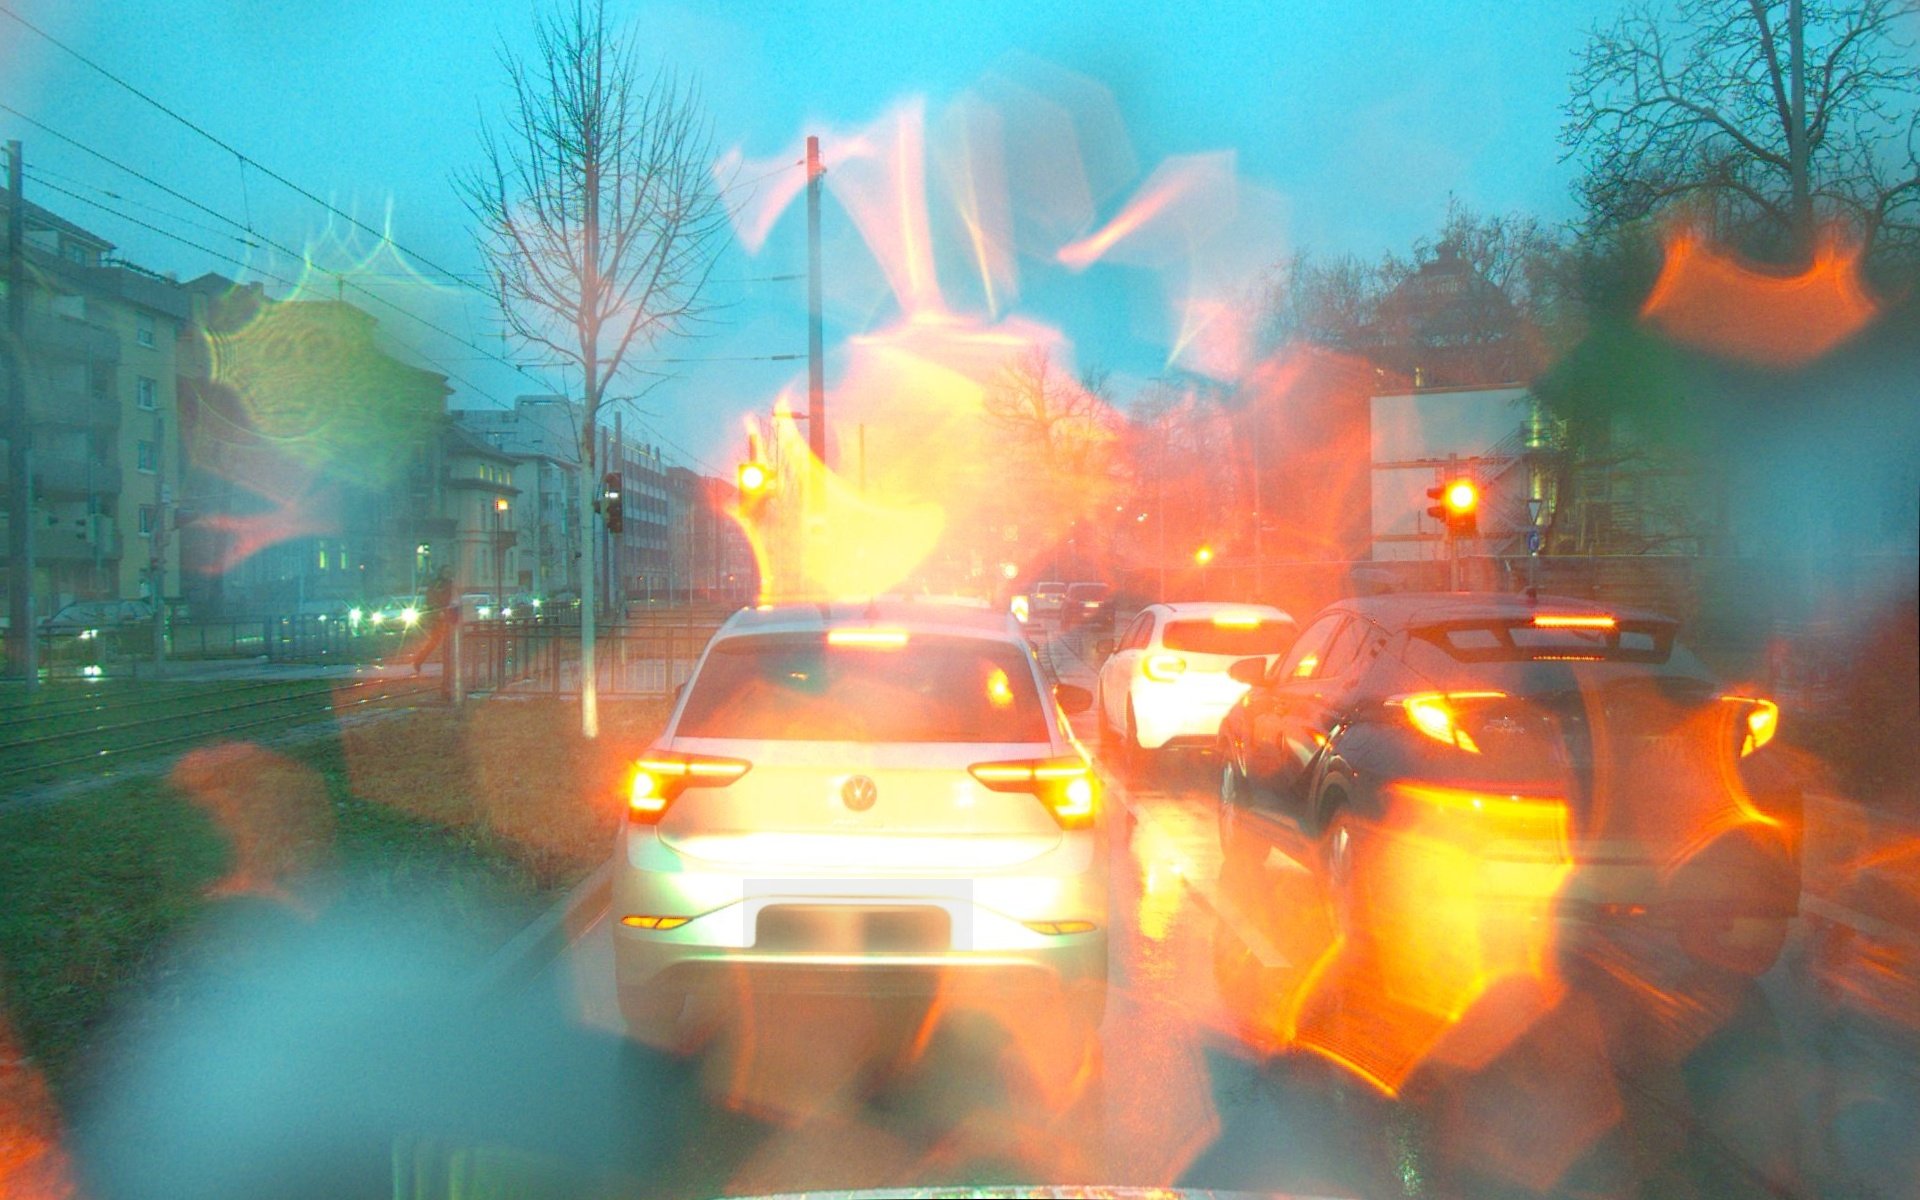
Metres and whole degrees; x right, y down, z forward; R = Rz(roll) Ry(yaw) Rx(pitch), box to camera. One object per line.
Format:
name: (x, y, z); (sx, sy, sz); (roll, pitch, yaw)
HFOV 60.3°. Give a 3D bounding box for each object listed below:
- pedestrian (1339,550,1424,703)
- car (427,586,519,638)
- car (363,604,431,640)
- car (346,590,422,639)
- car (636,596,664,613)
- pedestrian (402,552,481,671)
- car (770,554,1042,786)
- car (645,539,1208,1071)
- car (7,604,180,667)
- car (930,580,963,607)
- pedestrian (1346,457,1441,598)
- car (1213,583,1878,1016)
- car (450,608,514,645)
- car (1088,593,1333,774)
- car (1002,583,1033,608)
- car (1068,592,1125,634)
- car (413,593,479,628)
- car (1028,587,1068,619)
pedestrian: (5.776, 0.355, 22.719); (0.938, 2.049, 1.008); (-1, 0, 3)
car: (-16.160, 0.386, 55.086); (1.953, 1.630, 3.999); (1, 0, -2)
car: (-21.767, 0.826, 64.069); (1.658, 1.300, 4.142); (-1, 0, -7)
car: (-25.191, 0.597, 72.467); (1.953, 2.049, 3.999); (1, 0, -1)
car: (-29.445, 0.430, 157.378); (1.910, 1.630, 4.000); (1, 0, 0)
pedestrian: (-9.126, 0.197, 29.125); (1.000, 2.049, 0.946); (-1, 0, -44)
car: (-0.377, 0.435, 13.149); (1.762, 1.492, 4.585); (-1, 1, -1)
car: (-0.209, 0.587, 6.902); (1.659, 1.560, 3.997); (1, 1, -4)
car: (-20.248, 0.798, 38.873); (1.821, 1.355, 4.314); (1, 0, -1)
car: (-0.744, -0.365, 89.863); (1.702, 1.444, 4.393); (-1, 1, -1)
pedestrian: (6.486, -1.068, 24.778); (0.946, 2.049, 1.000); (-1, 0, -23)
car: (2.408, 0.705, 7.902); (1.763, 1.537, 3.895); (-1, 0, -1)
car: (-21.881, 1.201, 75.804); (1.829, 1.604, 3.999); (-1, 0, -1)
car: (2.219, 0.689, 15.561); (1.710, 1.458, 3.731); (1, 0, 0)
car: (3.482, -0.289, 100.754); (1.702, 1.444, 4.145); (-1, 1, -1)
car: (4.903, 0.440, 59.903); (1.702, 1.444, 3.703); (-1, 1, -1)
car: (-24.895, 0.484, 80.202); (1.910, 1.630, 4.000); (1, 0, 0)
car: (4.222, 0.125, 79.969); (1.702, 1.444, 3.703); (-1, 1, -1)
